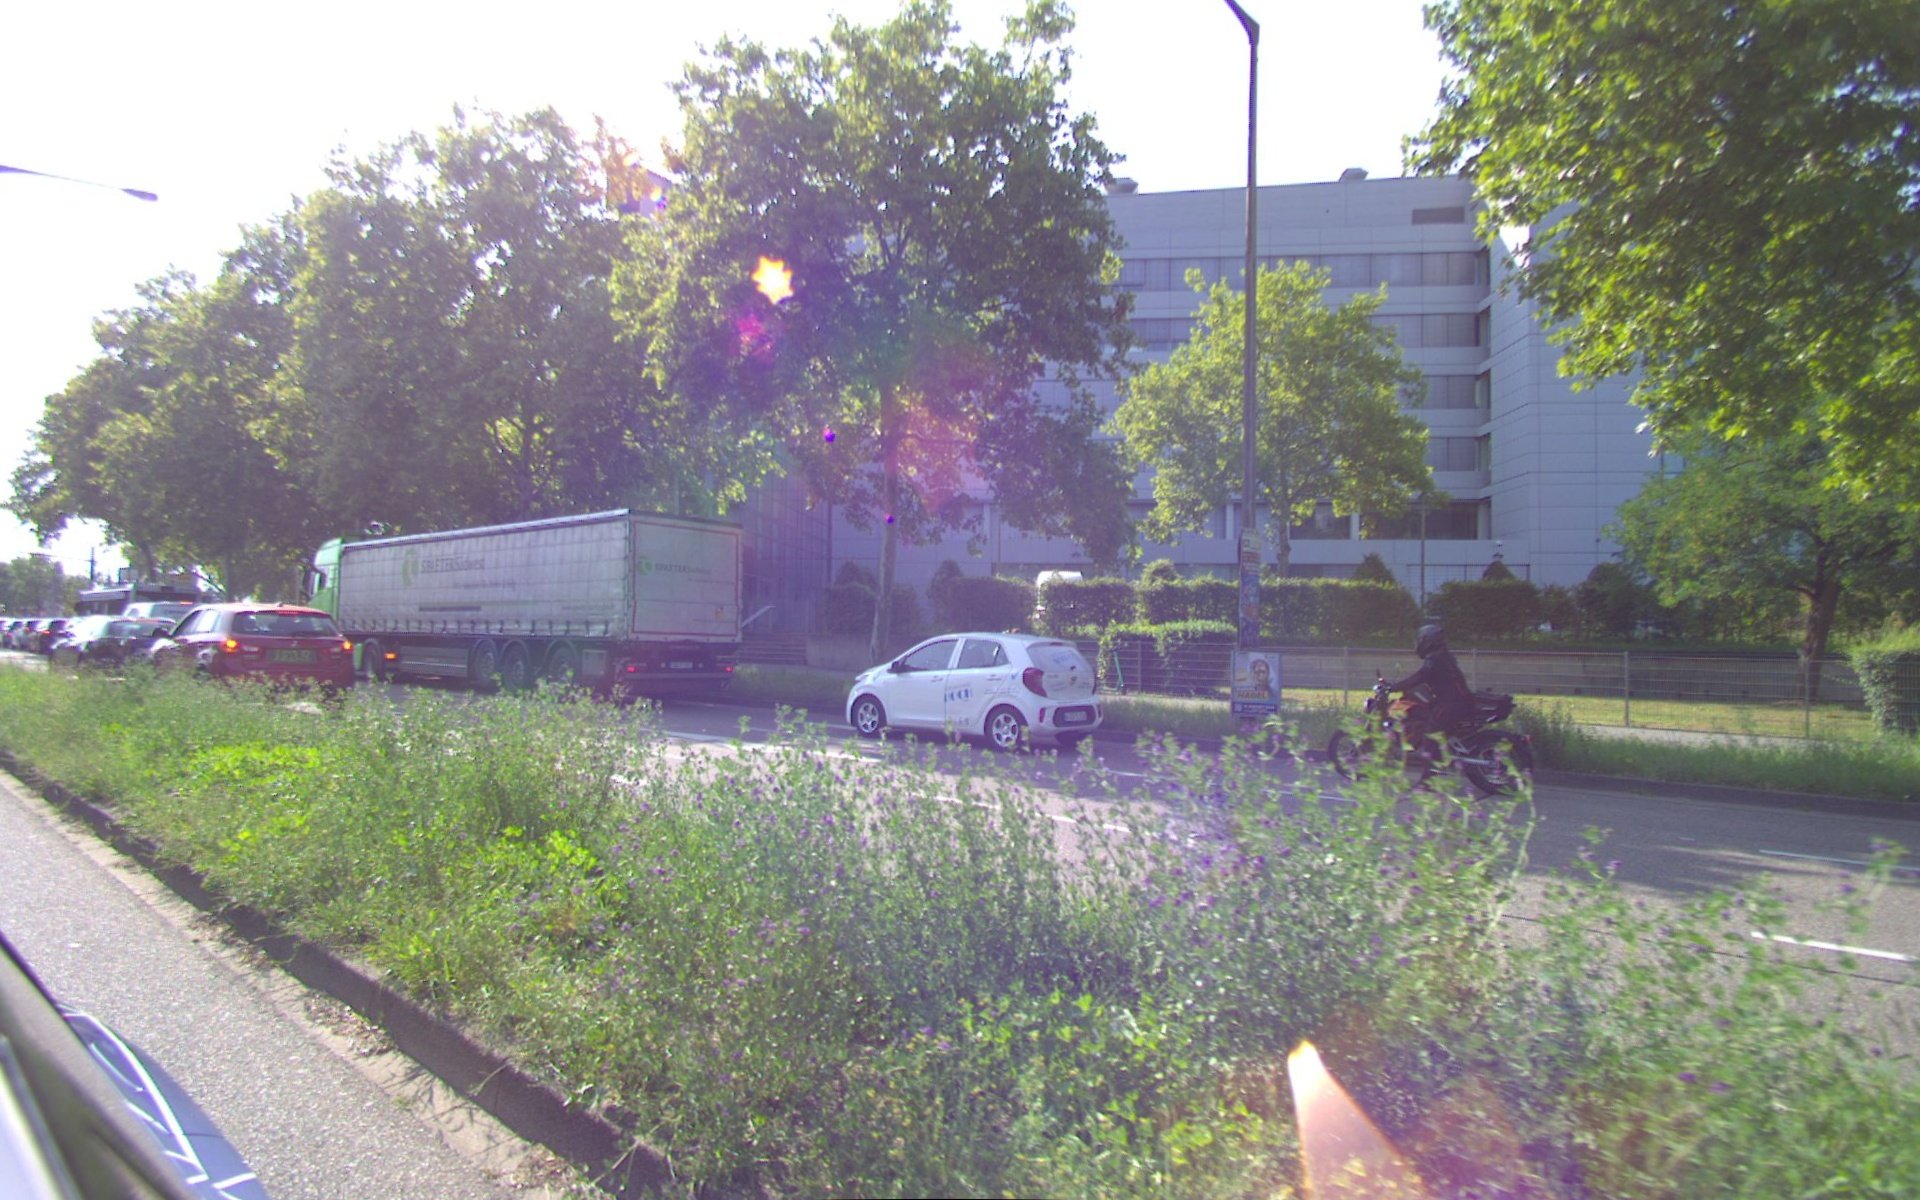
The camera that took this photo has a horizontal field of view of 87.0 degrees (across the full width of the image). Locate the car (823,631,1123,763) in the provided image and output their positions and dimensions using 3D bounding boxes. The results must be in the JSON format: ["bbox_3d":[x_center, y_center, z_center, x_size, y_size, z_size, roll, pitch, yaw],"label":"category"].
[{"bbox_3d":[0.093,1.198,13.619,3.829,1.490,1.728,-1,-3,41],"label":"car"}]

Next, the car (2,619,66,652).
[{"bbox_3d":[-43.110,1.648,47.118,3.818,1.478,1.689,-1,-3,40],"label":"car"}]

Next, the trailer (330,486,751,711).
[{"bbox_3d":[-10.144,0.128,22.807,13.801,3.851,2.606,-1,-4,40],"label":"trailer"}]

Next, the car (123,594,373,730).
[{"bbox_3d":[-10.761,0.851,15.174,4.583,1.737,1.934,-1,-3,40],"label":"car"}]

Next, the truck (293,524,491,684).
[{"bbox_3d":[-15.355,0.203,27.221,5.886,3.849,2.581,-1,-4,40],"label":"truck"}]

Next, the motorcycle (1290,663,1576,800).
[{"bbox_3d":[4.641,1.235,10.094,2.466,1.115,0.786,-1,-1,41],"label":"motorcycle"}]

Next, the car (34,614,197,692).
[{"bbox_3d":[-18.050,1.097,21.562,4.581,1.490,1.729,-1,-4,39],"label":"car"}]

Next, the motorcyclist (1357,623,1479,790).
[{"bbox_3d":[4.590,1.015,10.146,0.922,1.566,0.770,-1,-2,41],"label":"motorcyclist"}]

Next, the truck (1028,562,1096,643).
[{"bbox_3d":[3.853,0.145,39.153,2.209,2.883,5.901,0,-1,2],"label":"truck"}]

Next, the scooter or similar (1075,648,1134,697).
[{"bbox_3d":[3.537,1.759,24.820,1.381,1.136,0.503,-1,-2,42],"label":"scooter or similar"}]

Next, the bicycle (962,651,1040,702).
[{"bbox_3d":[0.943,1.752,23.461,1.798,1.116,0.641,-1,-3,40],"label":"bicycle"}]

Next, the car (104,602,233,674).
[{"bbox_3d":[-23.558,1.104,30.054,5.032,1.968,1.973,-1,-3,40],"label":"car"}]

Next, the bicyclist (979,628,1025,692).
[{"bbox_3d":[0.973,1.378,23.469,0.839,1.450,0.641,-1,-3,39],"label":"bicyclist"}]

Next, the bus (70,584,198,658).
[{"bbox_3d":[-39.040,0.967,47.613,12.304,3.103,2.563,-1,-1,41],"label":"bus"}]

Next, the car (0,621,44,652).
[{"bbox_3d":[-47.023,1.789,50.261,3.997,1.453,1.689,-1,-4,40],"label":"car"}]

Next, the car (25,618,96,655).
[{"bbox_3d":[-38.004,1.528,42.729,4.187,1.444,1.630,-1,-4,41],"label":"car"}]

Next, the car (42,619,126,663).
[{"bbox_3d":[-32.899,1.521,37.970,4.137,1.540,1.677,-1,-4,40],"label":"car"}]
